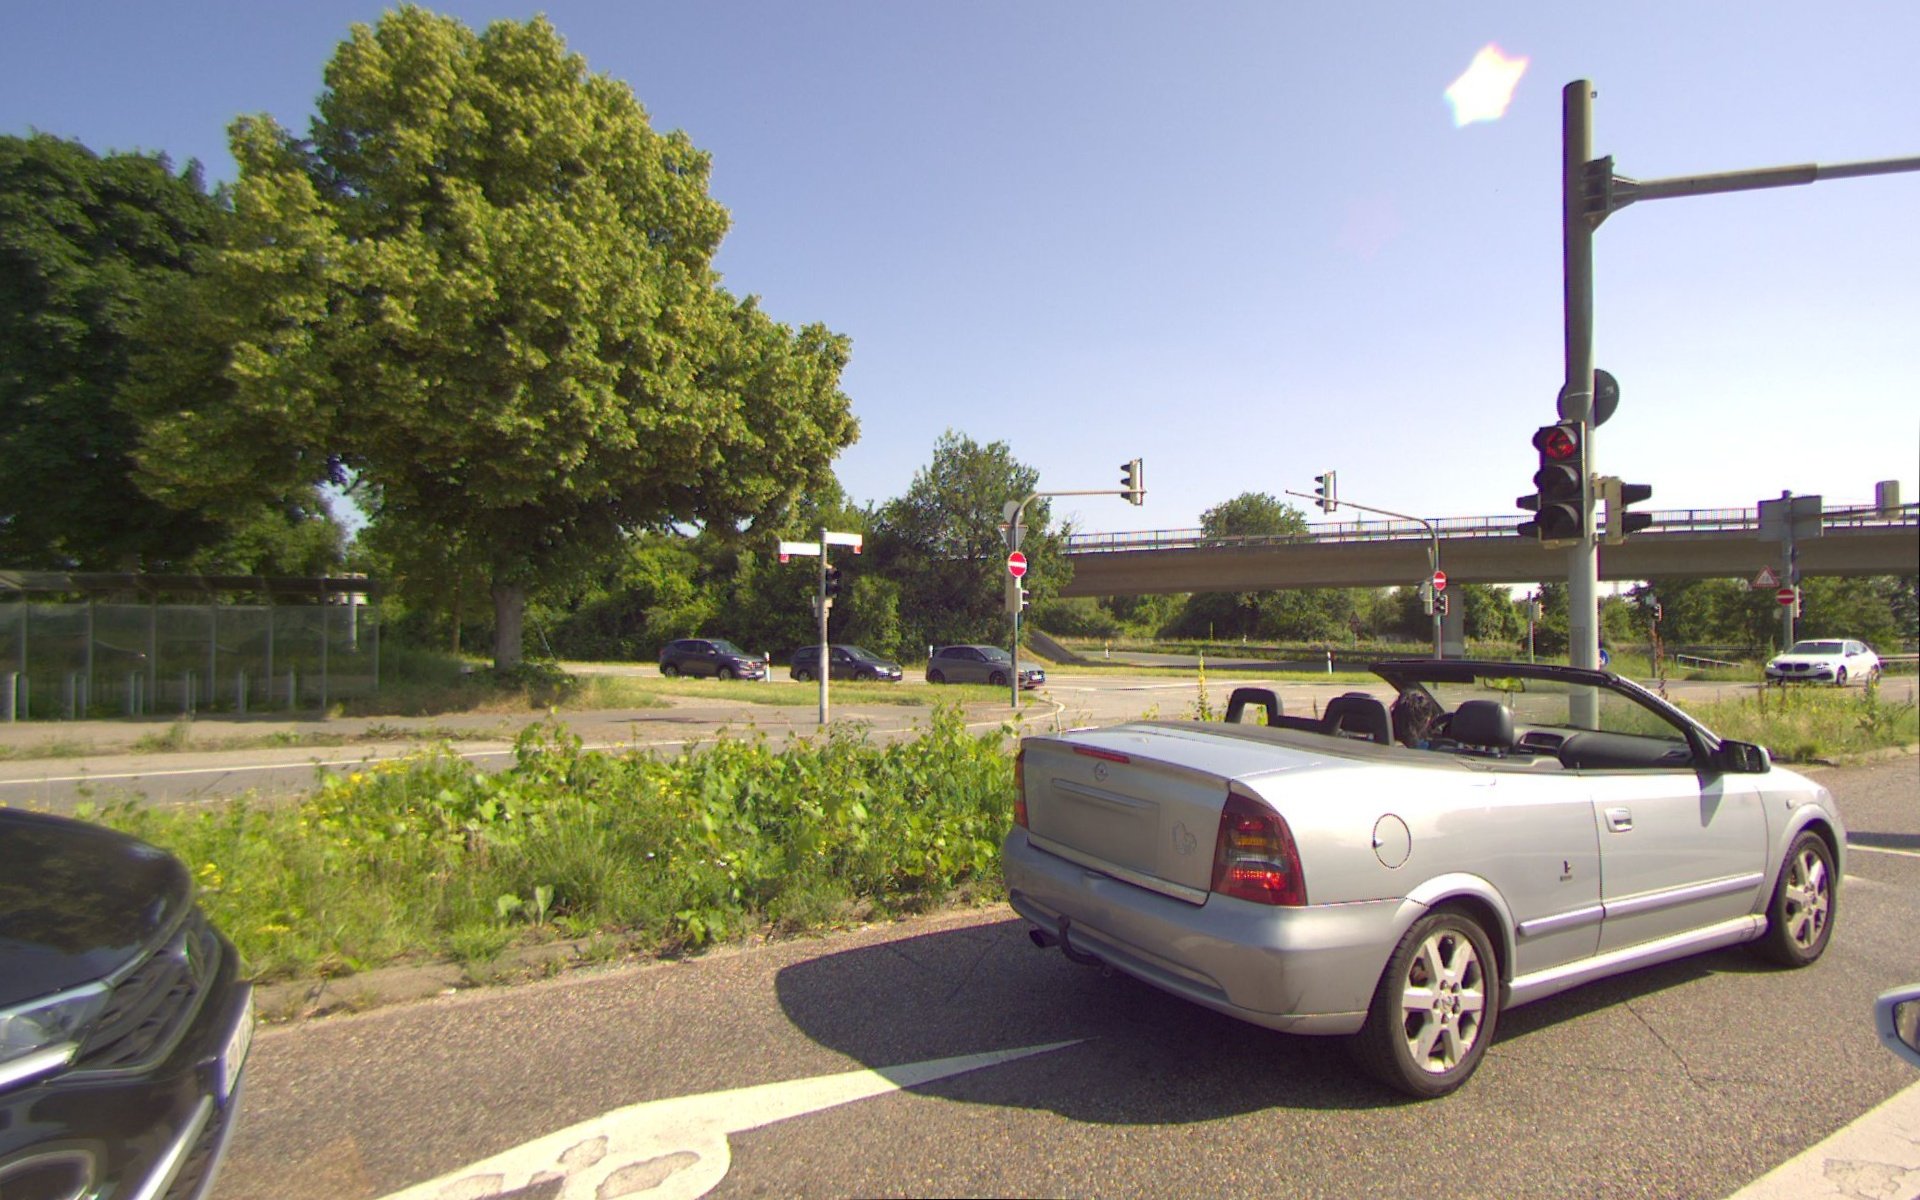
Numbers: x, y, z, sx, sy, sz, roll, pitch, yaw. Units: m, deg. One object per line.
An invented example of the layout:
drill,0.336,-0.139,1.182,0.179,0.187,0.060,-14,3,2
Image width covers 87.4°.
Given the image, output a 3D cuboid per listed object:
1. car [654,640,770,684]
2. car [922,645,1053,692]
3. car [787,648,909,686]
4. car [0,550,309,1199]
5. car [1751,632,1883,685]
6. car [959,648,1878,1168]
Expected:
car,-9.550,2.346,38.675,4.272,1.616,1.650,-1,-2,25
car,0.874,2.199,33.022,4.066,1.443,1.862,-2,-3,41
car,-4.058,2.384,36.217,4.277,1.297,1.648,-1,-2,30
car,-3.343,0.699,1.318,4.049,1.568,1.721,1,-1,-30
car,26.544,1.815,31.101,4.101,1.534,1.874,1,-5,-31
car,2.149,0.904,4.441,4.049,1.352,1.666,1,-2,-30
